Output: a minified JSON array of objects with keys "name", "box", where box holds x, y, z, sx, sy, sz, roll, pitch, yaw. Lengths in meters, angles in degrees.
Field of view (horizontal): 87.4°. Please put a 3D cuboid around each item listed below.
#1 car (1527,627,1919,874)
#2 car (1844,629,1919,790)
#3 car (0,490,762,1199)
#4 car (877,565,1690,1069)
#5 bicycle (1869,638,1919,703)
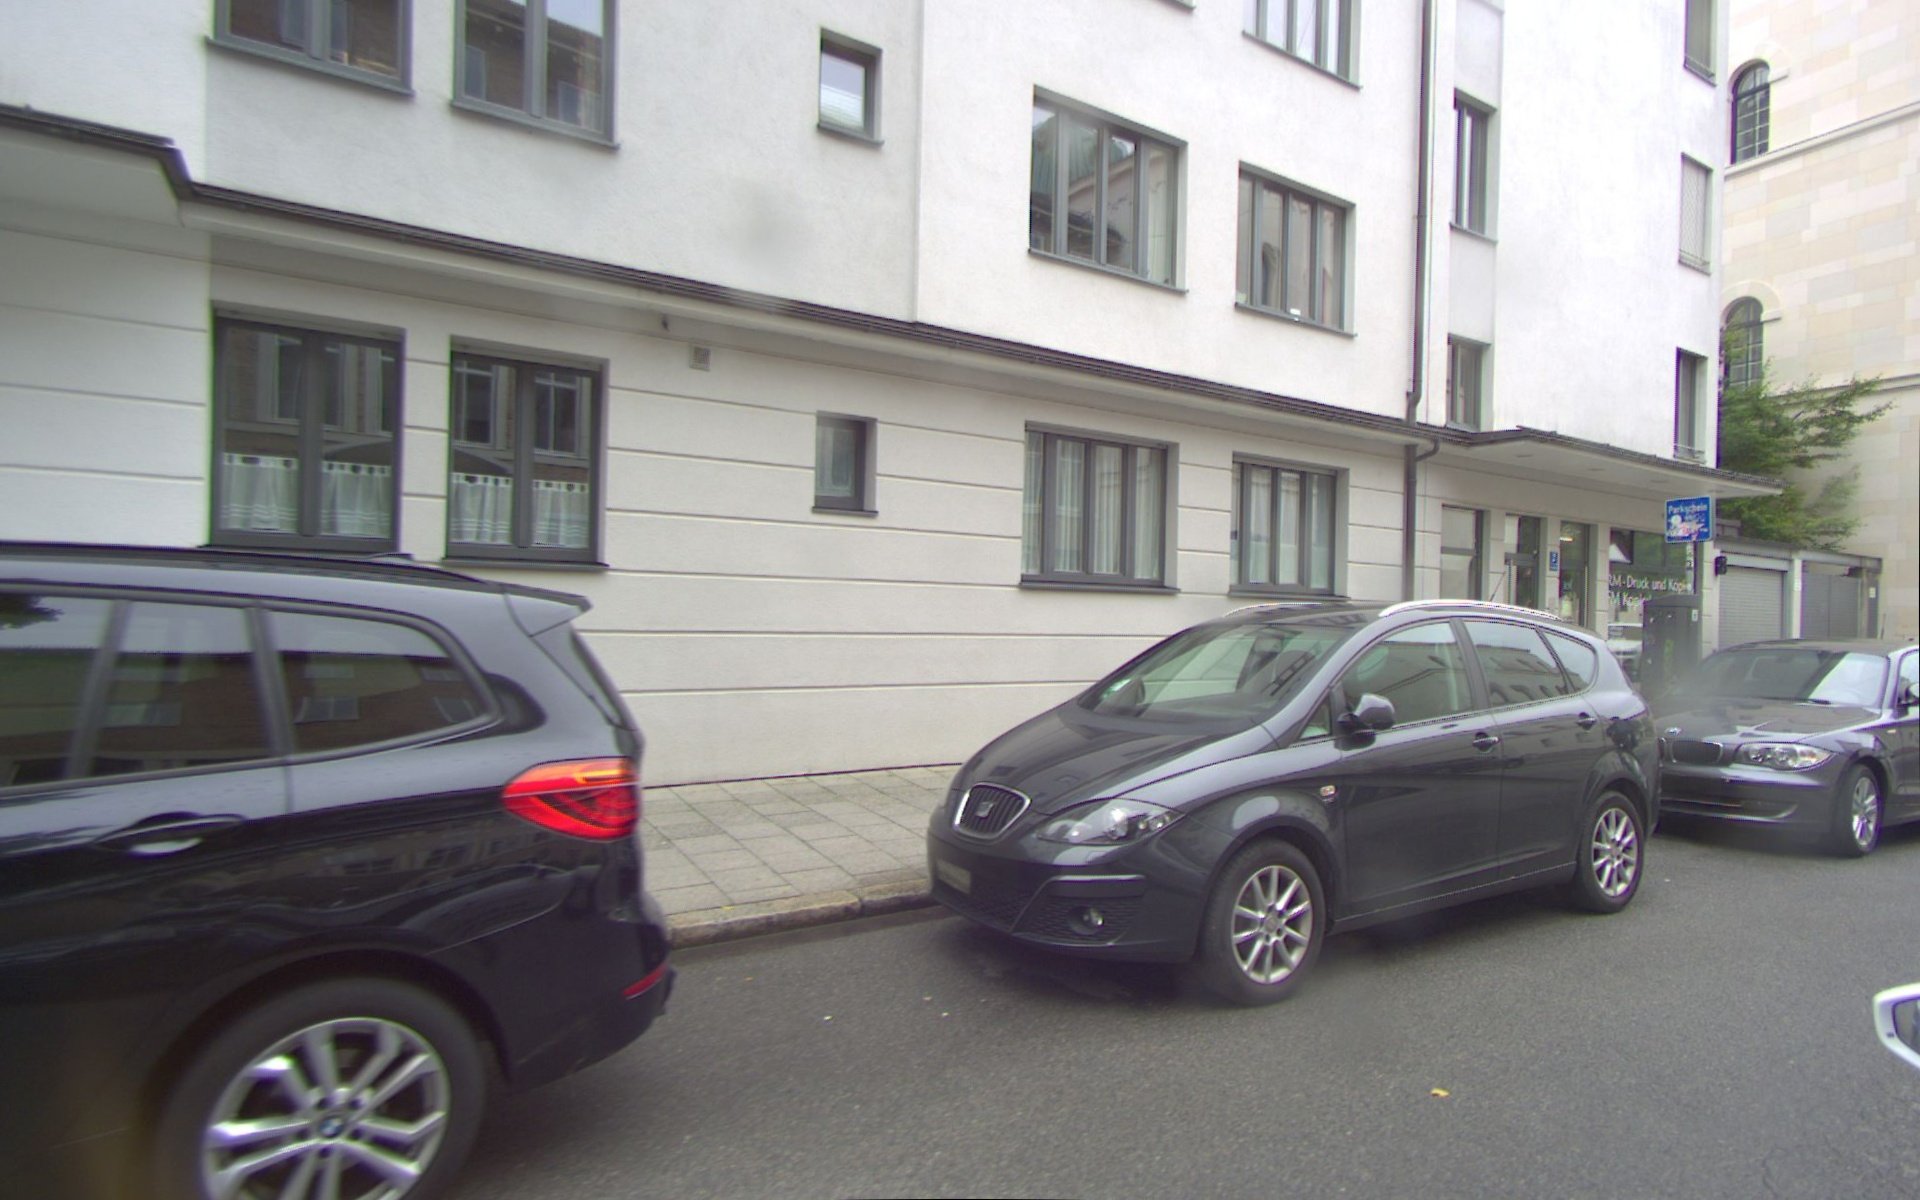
[{"name":"car","box":[6.478,0.961,7.816,3.965,1.472,1.744,0,-2,-28]},{"name":"car","box":[10.742,1.014,9.821,3.961,1.472,1.745,0,-1,-26]},{"name":"car","box":[-2.932,0.649,2.267,4.543,1.680,1.861,1,-2,-34]},{"name":"car","box":[1.781,0.760,5.223,4.033,1.680,1.863,0,-2,-32]},{"name":"bicycle","box":[18.276,1.334,18.933,0.468,1.193,1.712,1,-1,-16]}]
